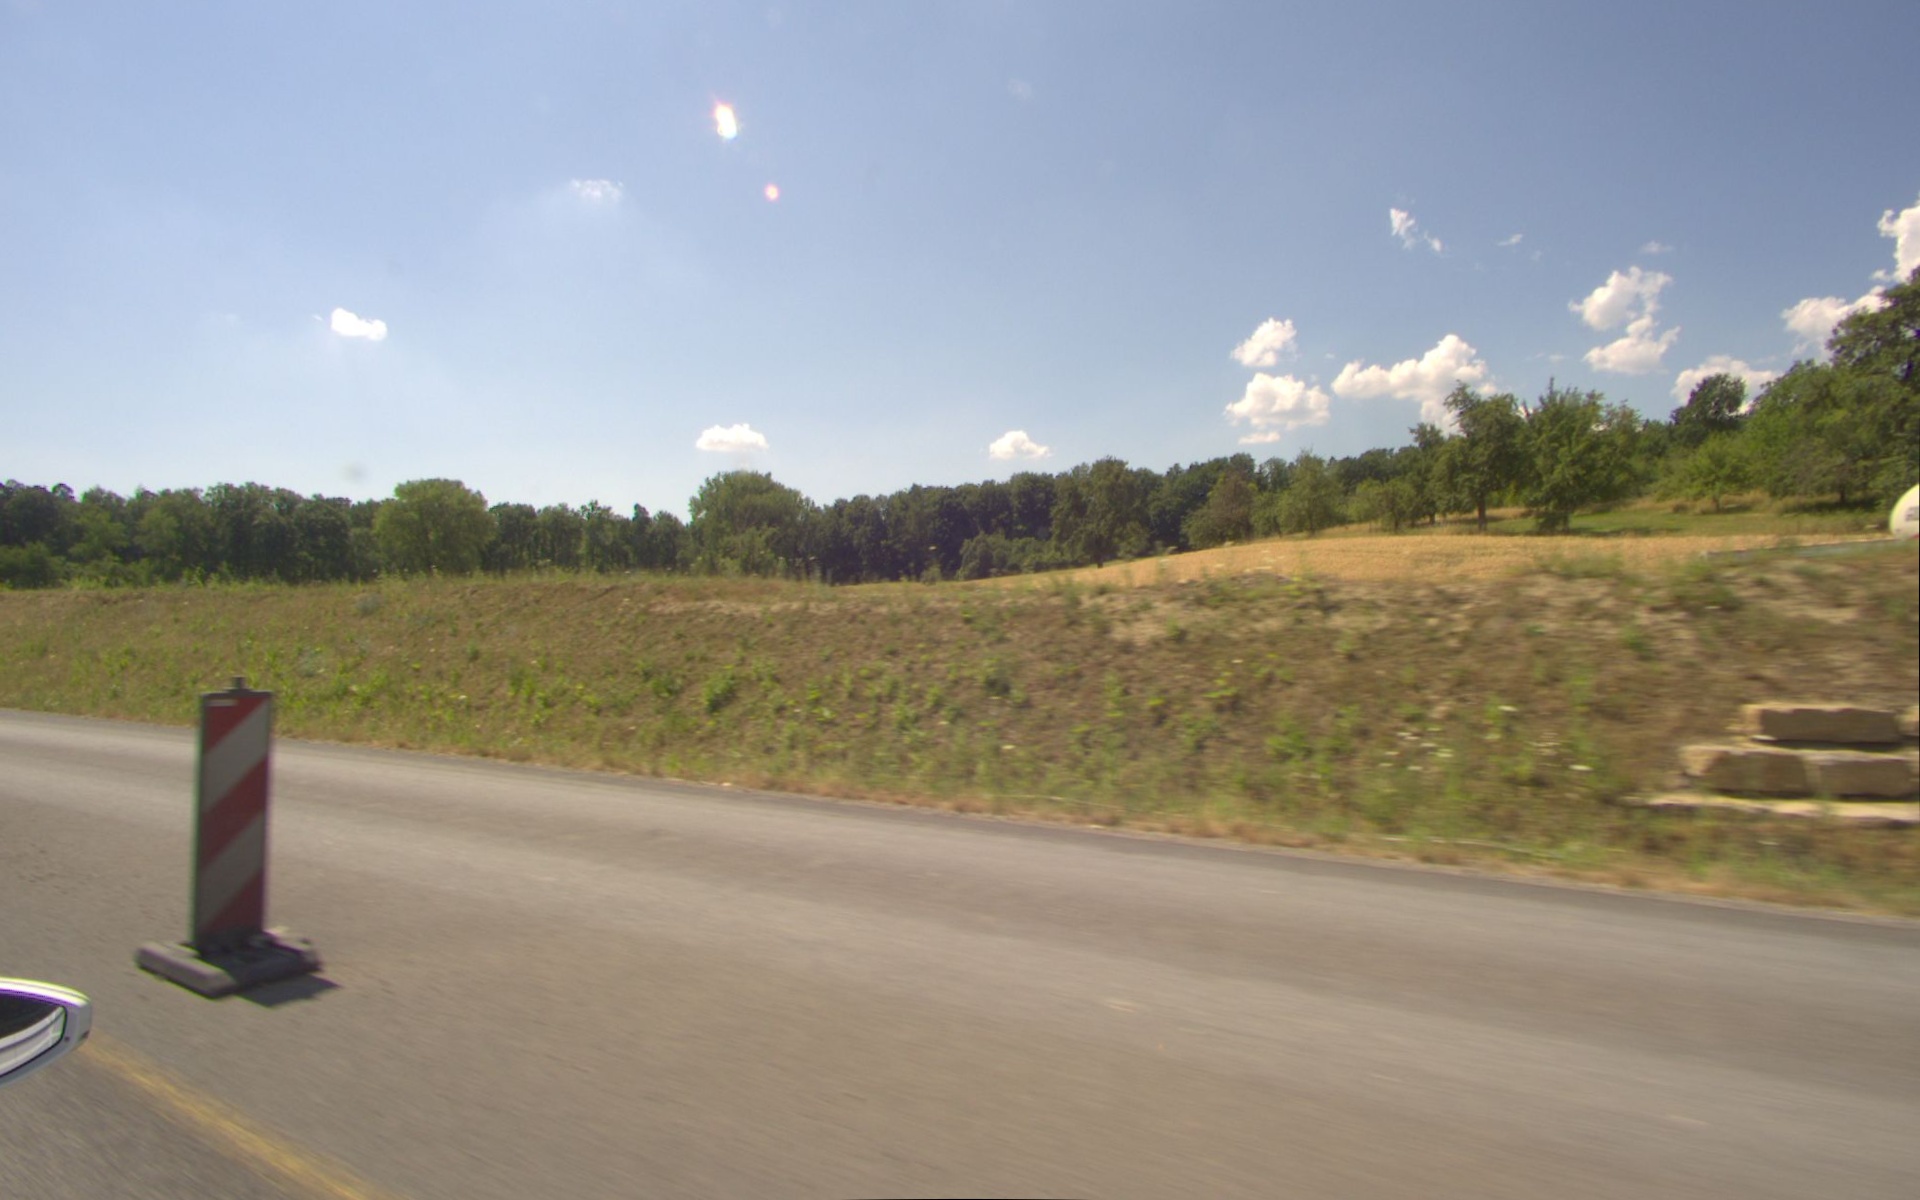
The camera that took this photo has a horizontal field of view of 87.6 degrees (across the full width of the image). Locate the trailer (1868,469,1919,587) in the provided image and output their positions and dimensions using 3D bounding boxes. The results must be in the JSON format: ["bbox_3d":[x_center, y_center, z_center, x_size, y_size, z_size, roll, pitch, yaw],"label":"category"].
[{"bbox_3d":[23.046,-1.771,22.011,2.426,2.640,8.888,-1,-1,28],"label":"trailer"}]
